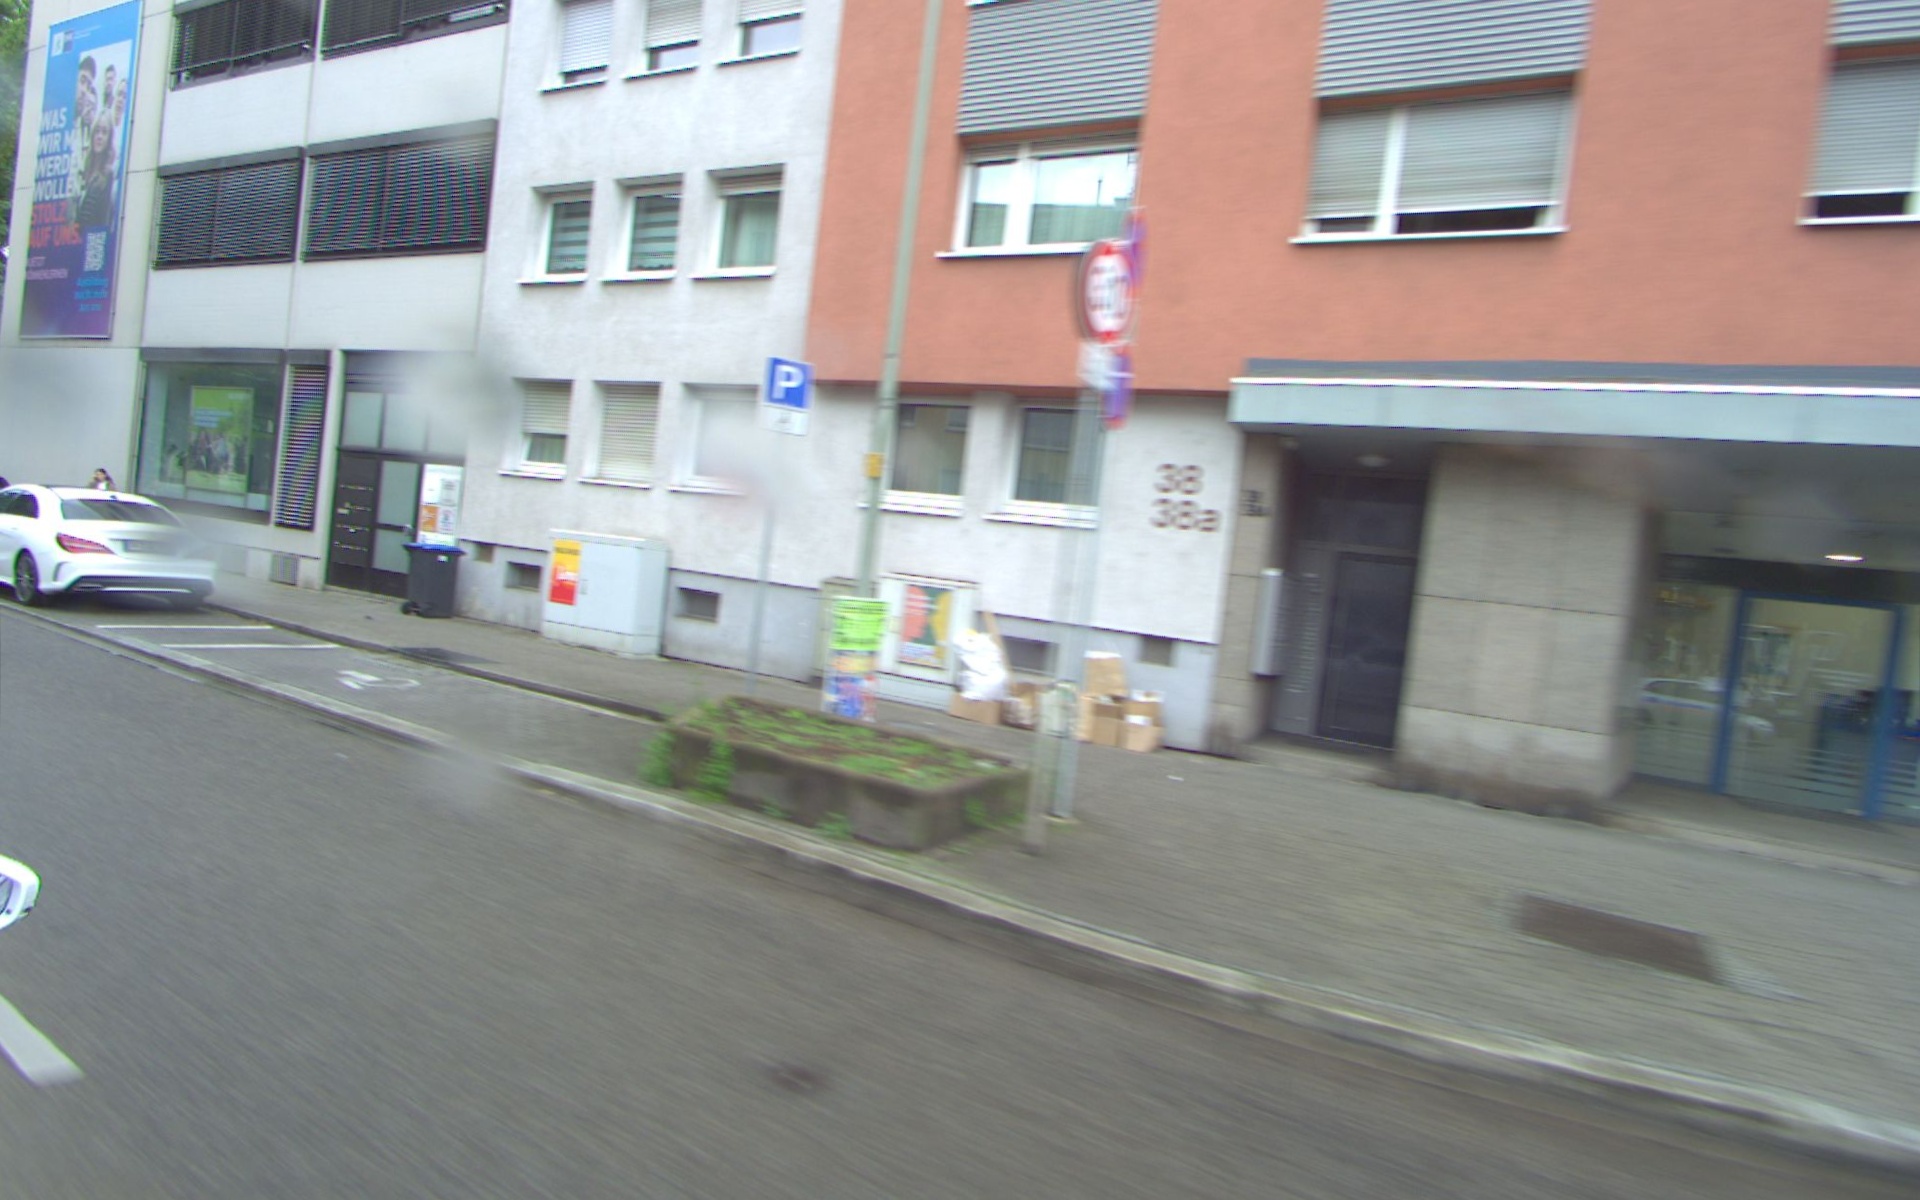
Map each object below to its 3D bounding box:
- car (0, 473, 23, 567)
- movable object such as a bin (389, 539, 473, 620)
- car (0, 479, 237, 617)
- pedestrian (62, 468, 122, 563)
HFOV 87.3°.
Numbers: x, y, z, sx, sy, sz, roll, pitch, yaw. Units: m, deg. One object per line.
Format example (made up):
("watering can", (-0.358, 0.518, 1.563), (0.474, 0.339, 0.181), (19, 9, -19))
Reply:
("car", (-17.117, -1.487, 16.400), (4.014, 1.462, 1.714), (7, 3, 32))
("movable object such as a bin", (-7.849, -0.299, 14.932), (0.770, 1.082, 0.714), (7, 2, 25))
("car", (-11.599, -0.751, 13.079), (4.501, 1.420, 1.775), (7, 3, 29))
("pedestrian", (-16.931, -1.639, 19.616), (0.669, 1.761, 0.613), (7, 3, 24))
